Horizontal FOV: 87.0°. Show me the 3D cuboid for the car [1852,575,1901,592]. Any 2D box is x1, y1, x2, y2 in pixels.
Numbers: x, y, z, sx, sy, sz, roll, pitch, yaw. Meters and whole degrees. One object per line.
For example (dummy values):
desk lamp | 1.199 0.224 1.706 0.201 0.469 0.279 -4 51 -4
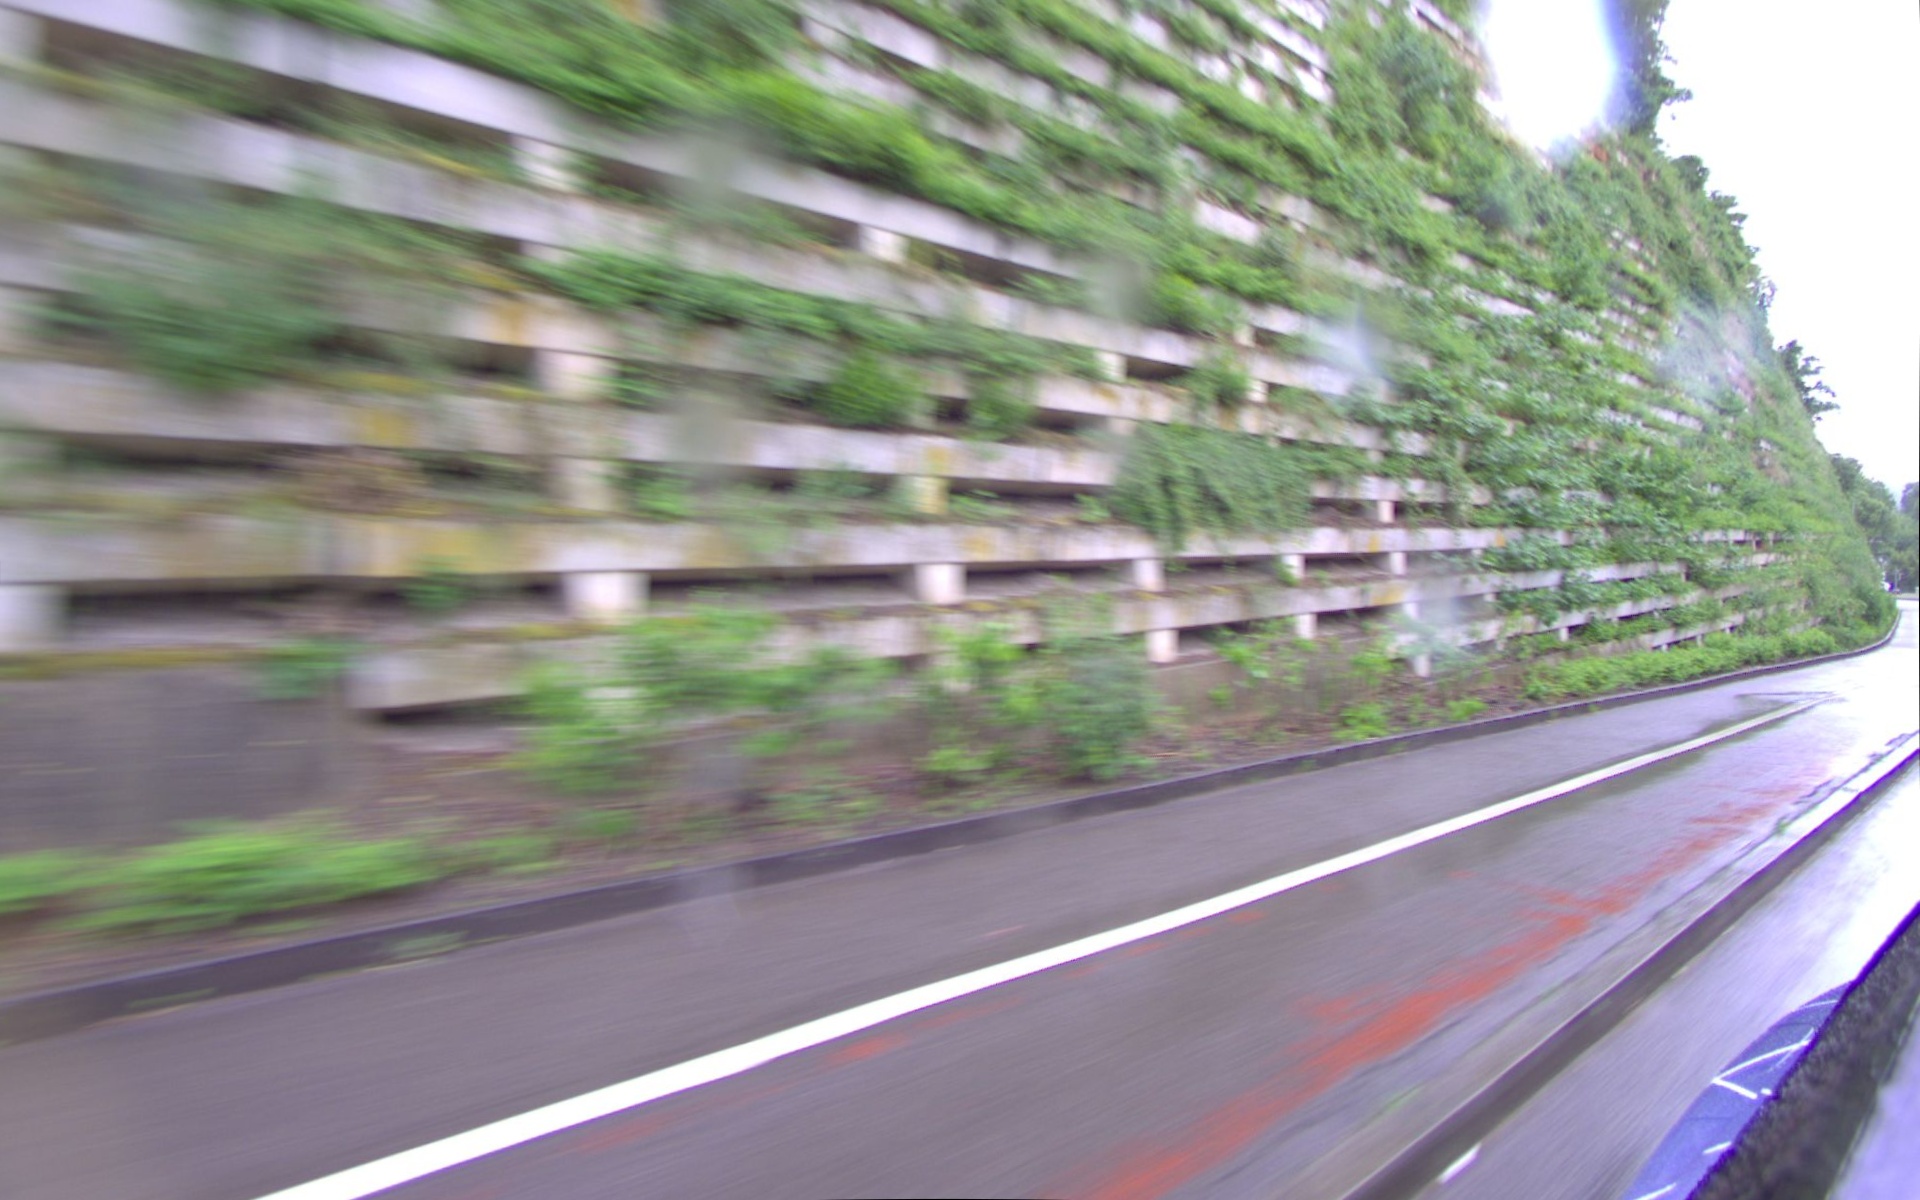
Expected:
car | 104.218 -1.858 115.078 1.644 1.592 3.991 -2 6 -45
